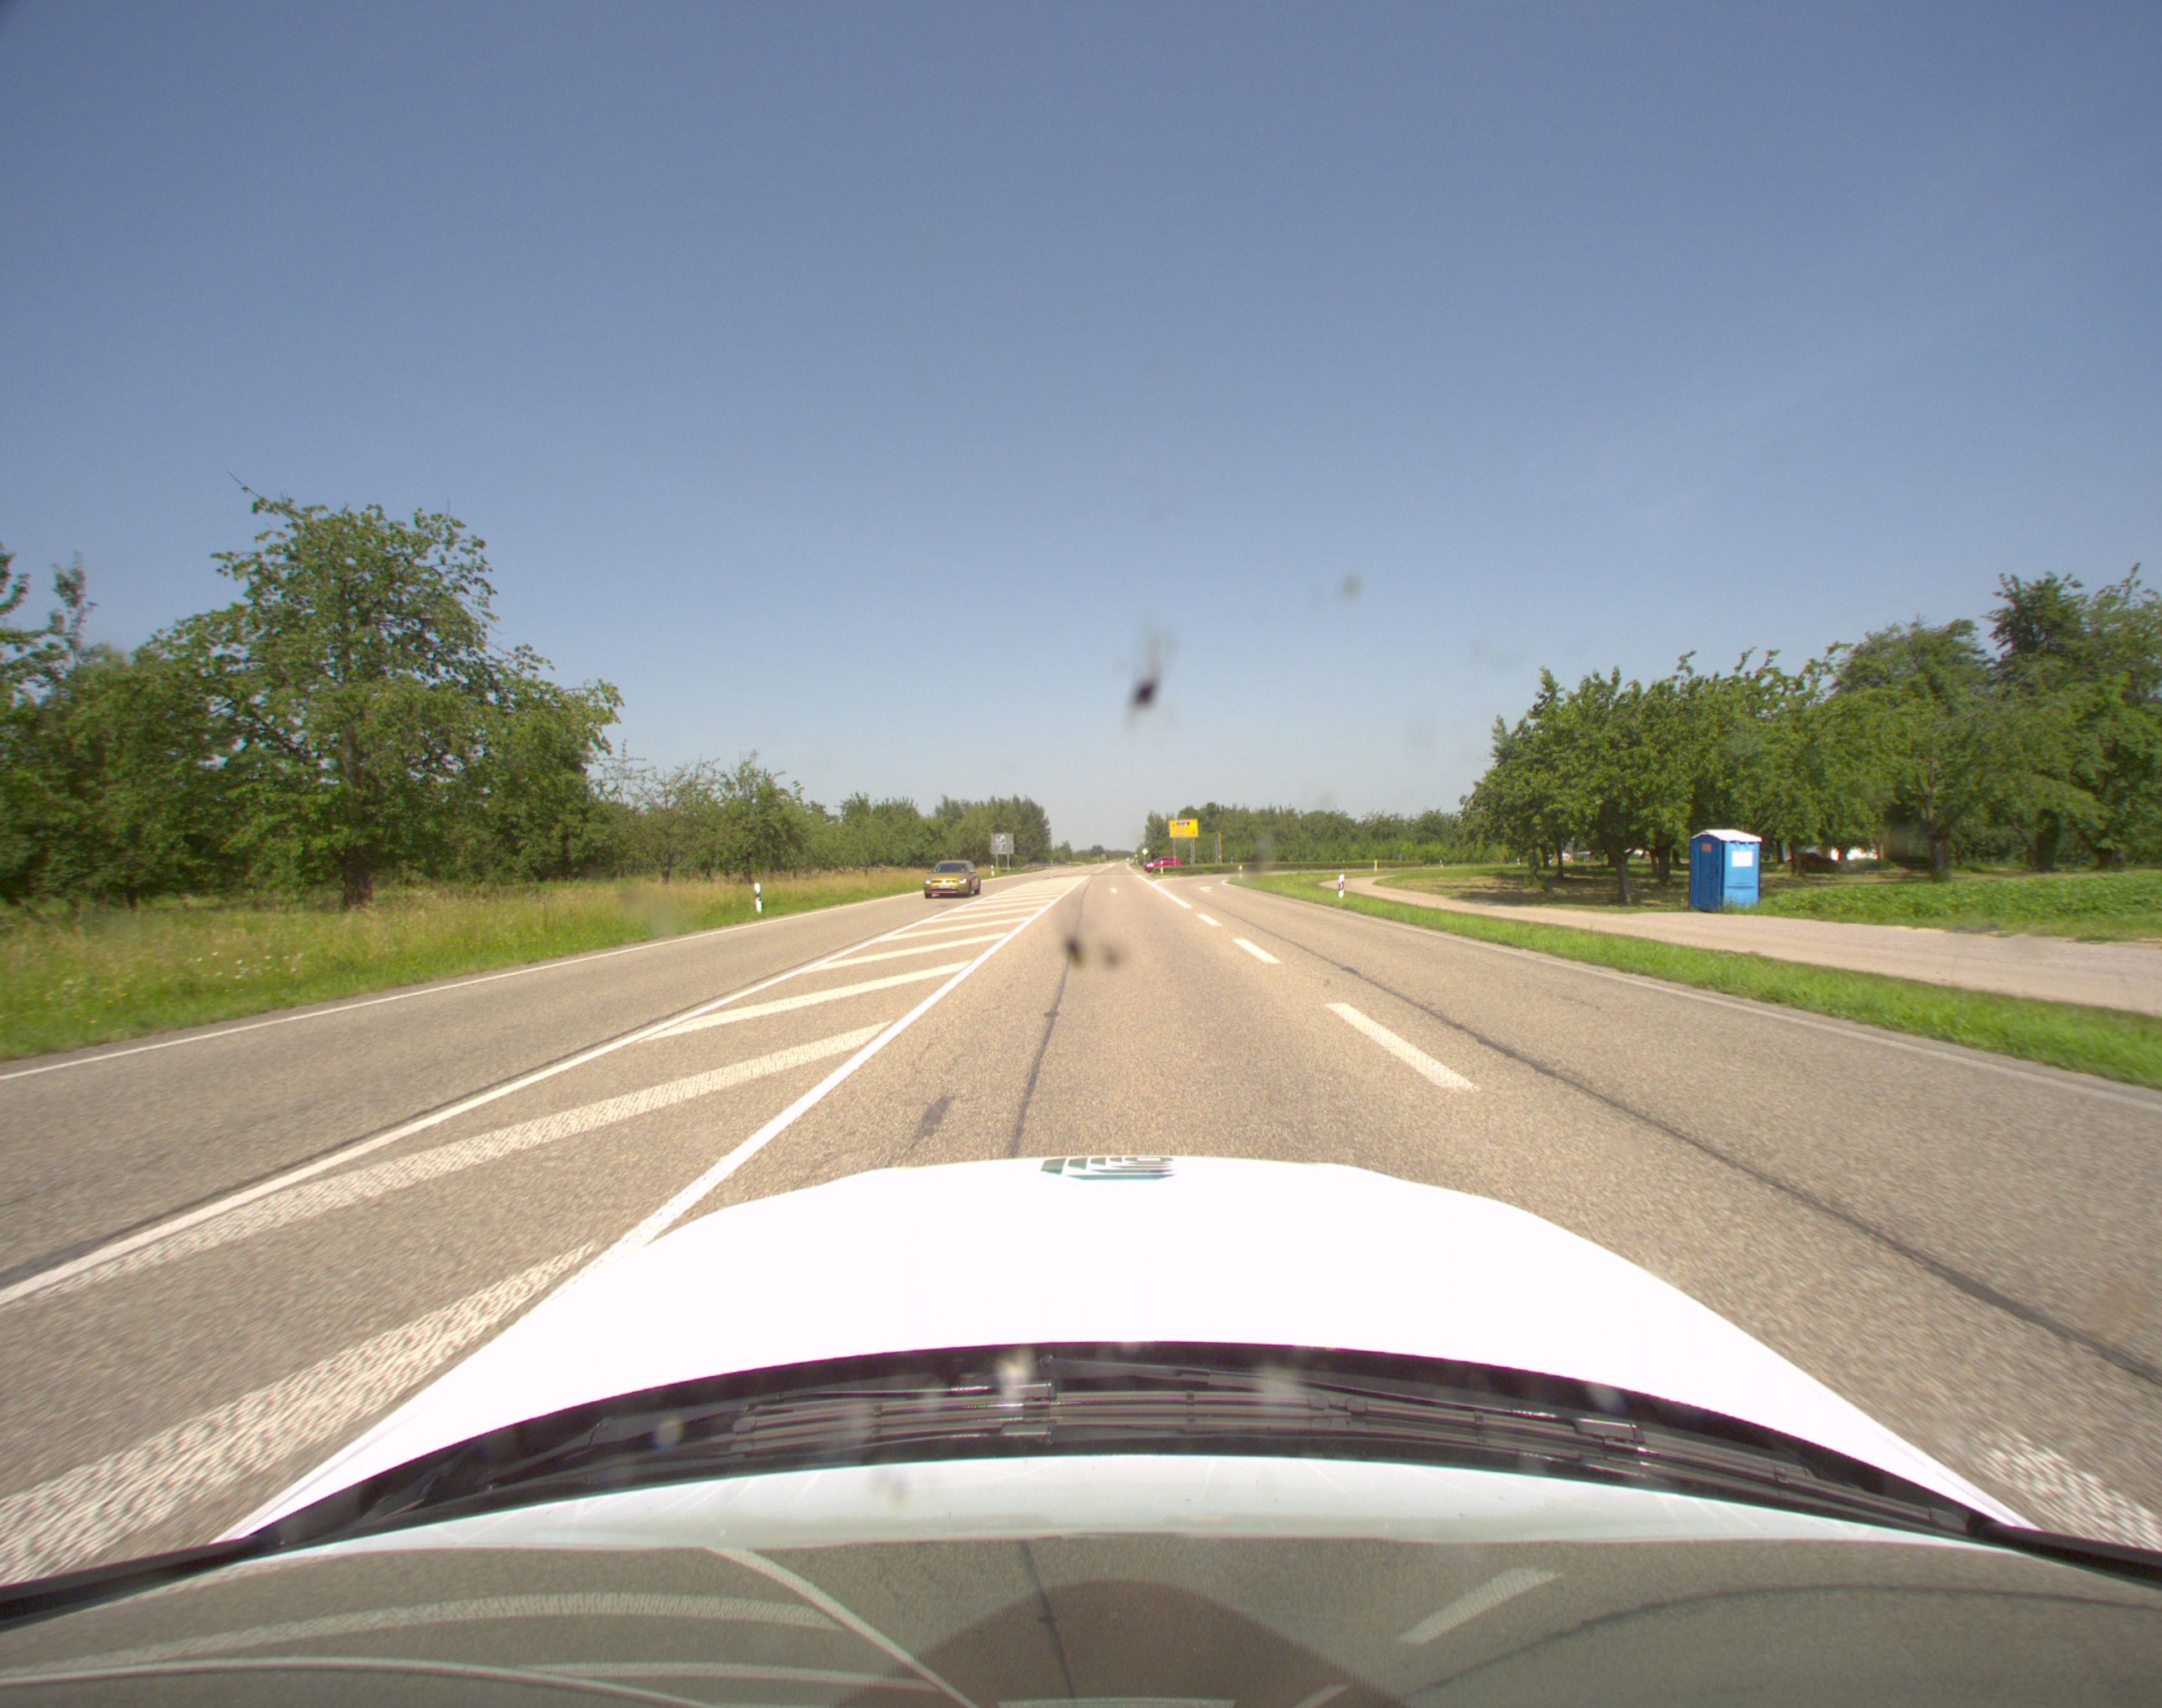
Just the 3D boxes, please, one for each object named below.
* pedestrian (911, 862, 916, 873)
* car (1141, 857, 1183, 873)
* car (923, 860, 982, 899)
[{"bbox_3d":[-21.244,1.712,103.259,0.571,1.297,0.556,-1,-1,4],"label":"pedestrian"},{"bbox_3d":[7.938,1.080,79.968,3.747,1.493,1.663,0,-1,-15],"label":"car"},{"bbox_3d":[-5.131,0.983,32.899,1.691,1.416,3.825,-1,0,1],"label":"car"}]
